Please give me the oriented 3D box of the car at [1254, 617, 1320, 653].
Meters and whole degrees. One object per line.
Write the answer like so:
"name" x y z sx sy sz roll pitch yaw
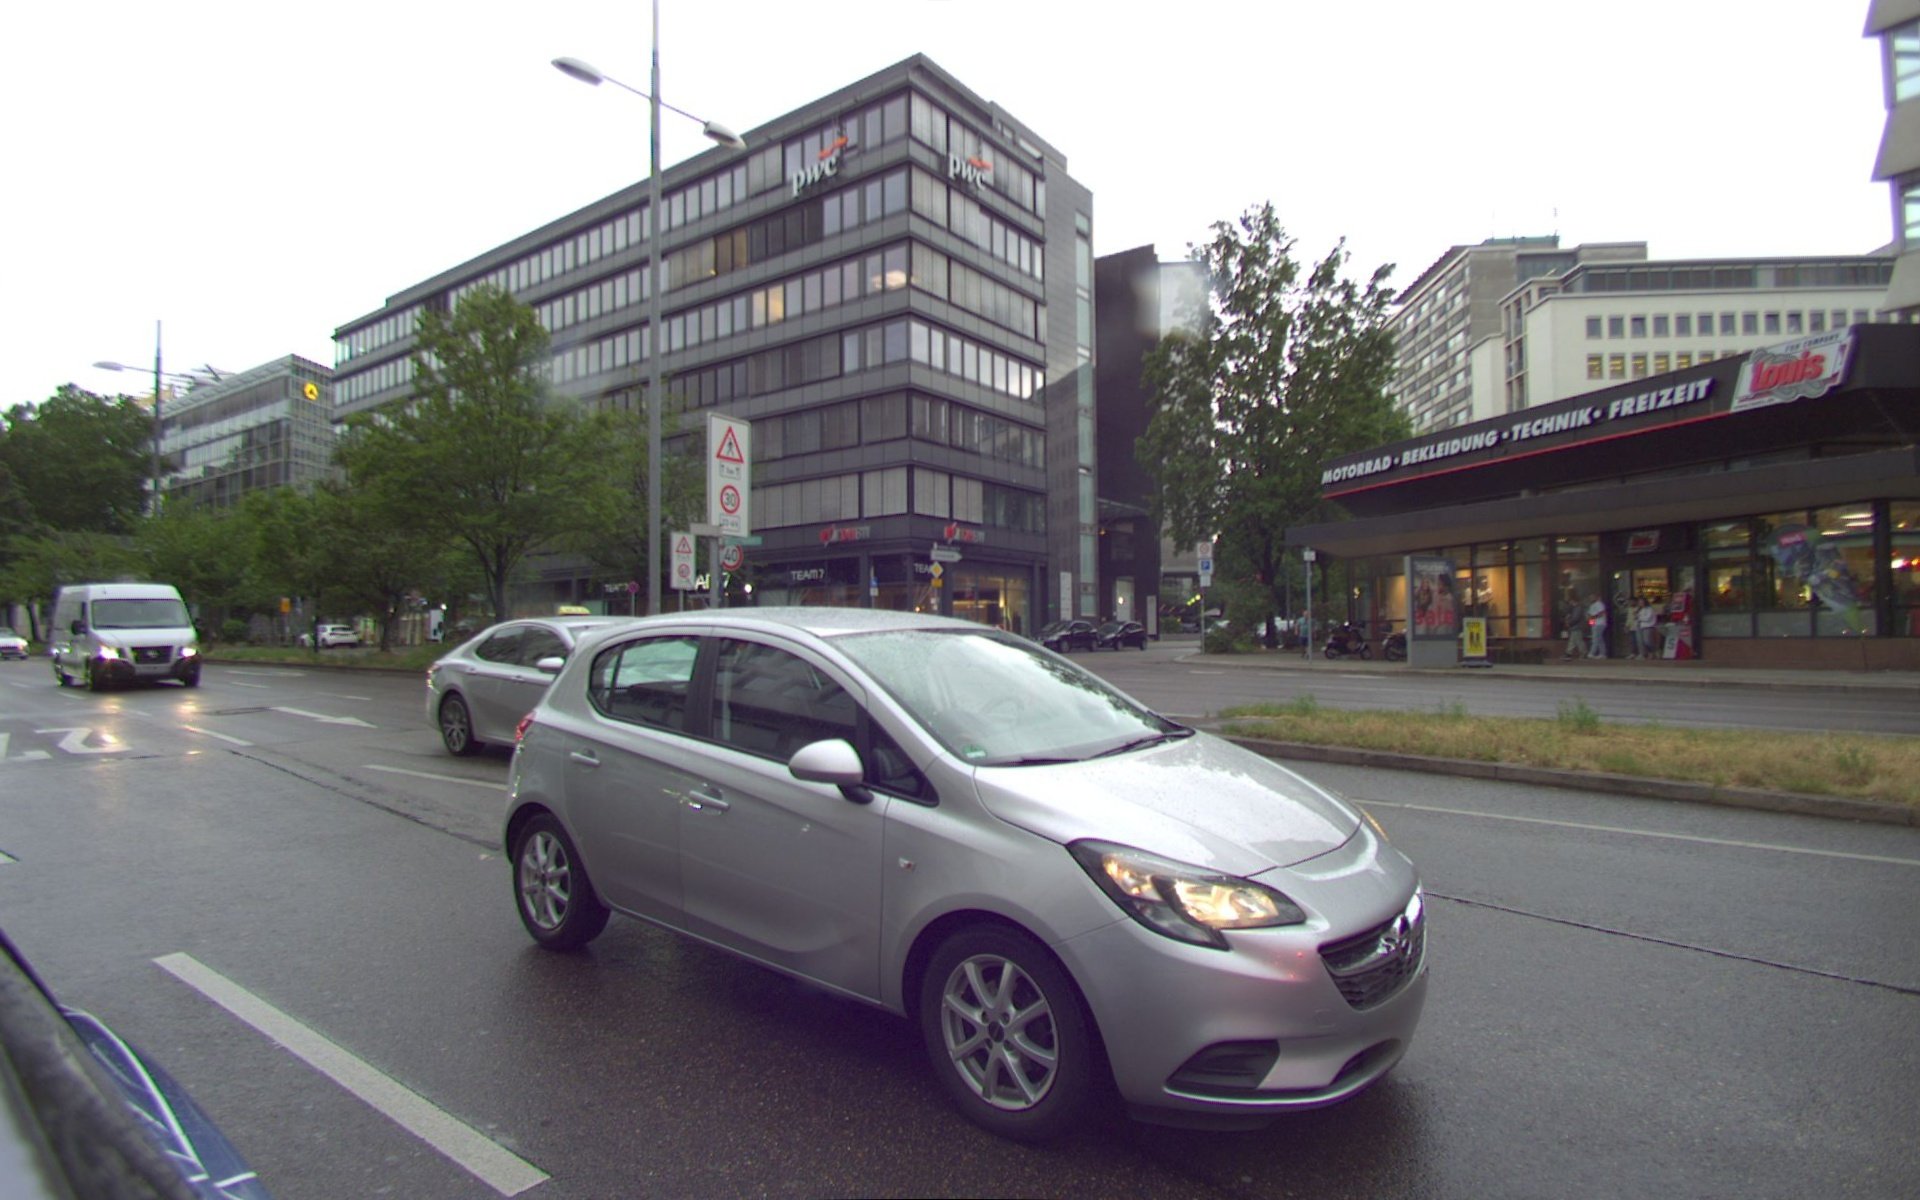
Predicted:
"car" 15.568 1.623 48.053 1.847 1.596 3.716 -2 -1 37

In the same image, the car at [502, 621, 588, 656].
"car" -19.407 1.782 47.266 3.992 1.518 1.975 -2 -1 36

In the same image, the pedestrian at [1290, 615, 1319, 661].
"pedestrian" 12.438 1.367 36.569 0.690 1.661 0.734 0 -1 -44

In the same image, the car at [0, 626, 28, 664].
"car" -43.338 2.026 45.289 3.488 1.630 1.746 -2 -1 36

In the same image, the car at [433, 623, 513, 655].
"car" -24.596 1.964 51.117 4.100 1.518 1.975 -2 -1 36

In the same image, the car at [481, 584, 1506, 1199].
"car" -0.184 0.730 4.008 3.872 1.446 1.631 -2 -1 40

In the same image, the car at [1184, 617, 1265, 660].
"car" 10.670 1.502 40.652 1.847 1.596 3.716 -2 -1 37

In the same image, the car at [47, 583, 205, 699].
"car" -19.839 0.924 23.968 5.475 2.459 1.927 -2 -1 40

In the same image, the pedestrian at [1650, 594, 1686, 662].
"pedestrian" 18.578 0.734 26.547 0.532 1.757 0.560 0 -1 -29

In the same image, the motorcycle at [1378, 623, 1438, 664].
"motorcycle" 13.835 1.342 31.240 1.646 1.242 0.360 -1 -1 2

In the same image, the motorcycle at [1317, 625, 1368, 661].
"motorcycle" 12.966 1.454 34.293 1.600 1.153 0.360 -1 -1 -8

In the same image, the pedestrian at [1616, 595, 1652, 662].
"pedestrian" 17.774 0.745 26.676 0.532 1.757 0.560 0 -1 -29

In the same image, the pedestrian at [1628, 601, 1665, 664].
"pedestrian" 17.573 0.835 25.917 0.532 1.582 0.560 0 -1 -29

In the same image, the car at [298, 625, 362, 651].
"car" -37.940 2.285 60.929 3.992 1.518 1.975 -2 -1 36

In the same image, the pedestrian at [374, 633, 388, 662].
"pedestrian" -40.490 3.313 70.744 0.500 2.029 0.681 -2 -1 38

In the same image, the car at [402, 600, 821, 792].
"car" -3.757 0.831 10.428 4.772 1.545 1.847 -2 -1 39

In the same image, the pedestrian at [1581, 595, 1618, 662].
"pedestrian" 17.037 0.754 26.954 0.605 1.757 0.560 0 -1 -29

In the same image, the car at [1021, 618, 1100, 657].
"car" 4.542 1.656 45.486 1.847 1.596 3.716 -2 -1 37

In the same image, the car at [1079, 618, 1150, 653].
"car" 7.577 1.712 49.481 1.847 1.596 3.716 -2 -1 37

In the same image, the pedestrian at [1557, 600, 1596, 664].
"pedestrian" 16.049 0.834 26.367 0.605 1.623 0.614 0 -1 -29
